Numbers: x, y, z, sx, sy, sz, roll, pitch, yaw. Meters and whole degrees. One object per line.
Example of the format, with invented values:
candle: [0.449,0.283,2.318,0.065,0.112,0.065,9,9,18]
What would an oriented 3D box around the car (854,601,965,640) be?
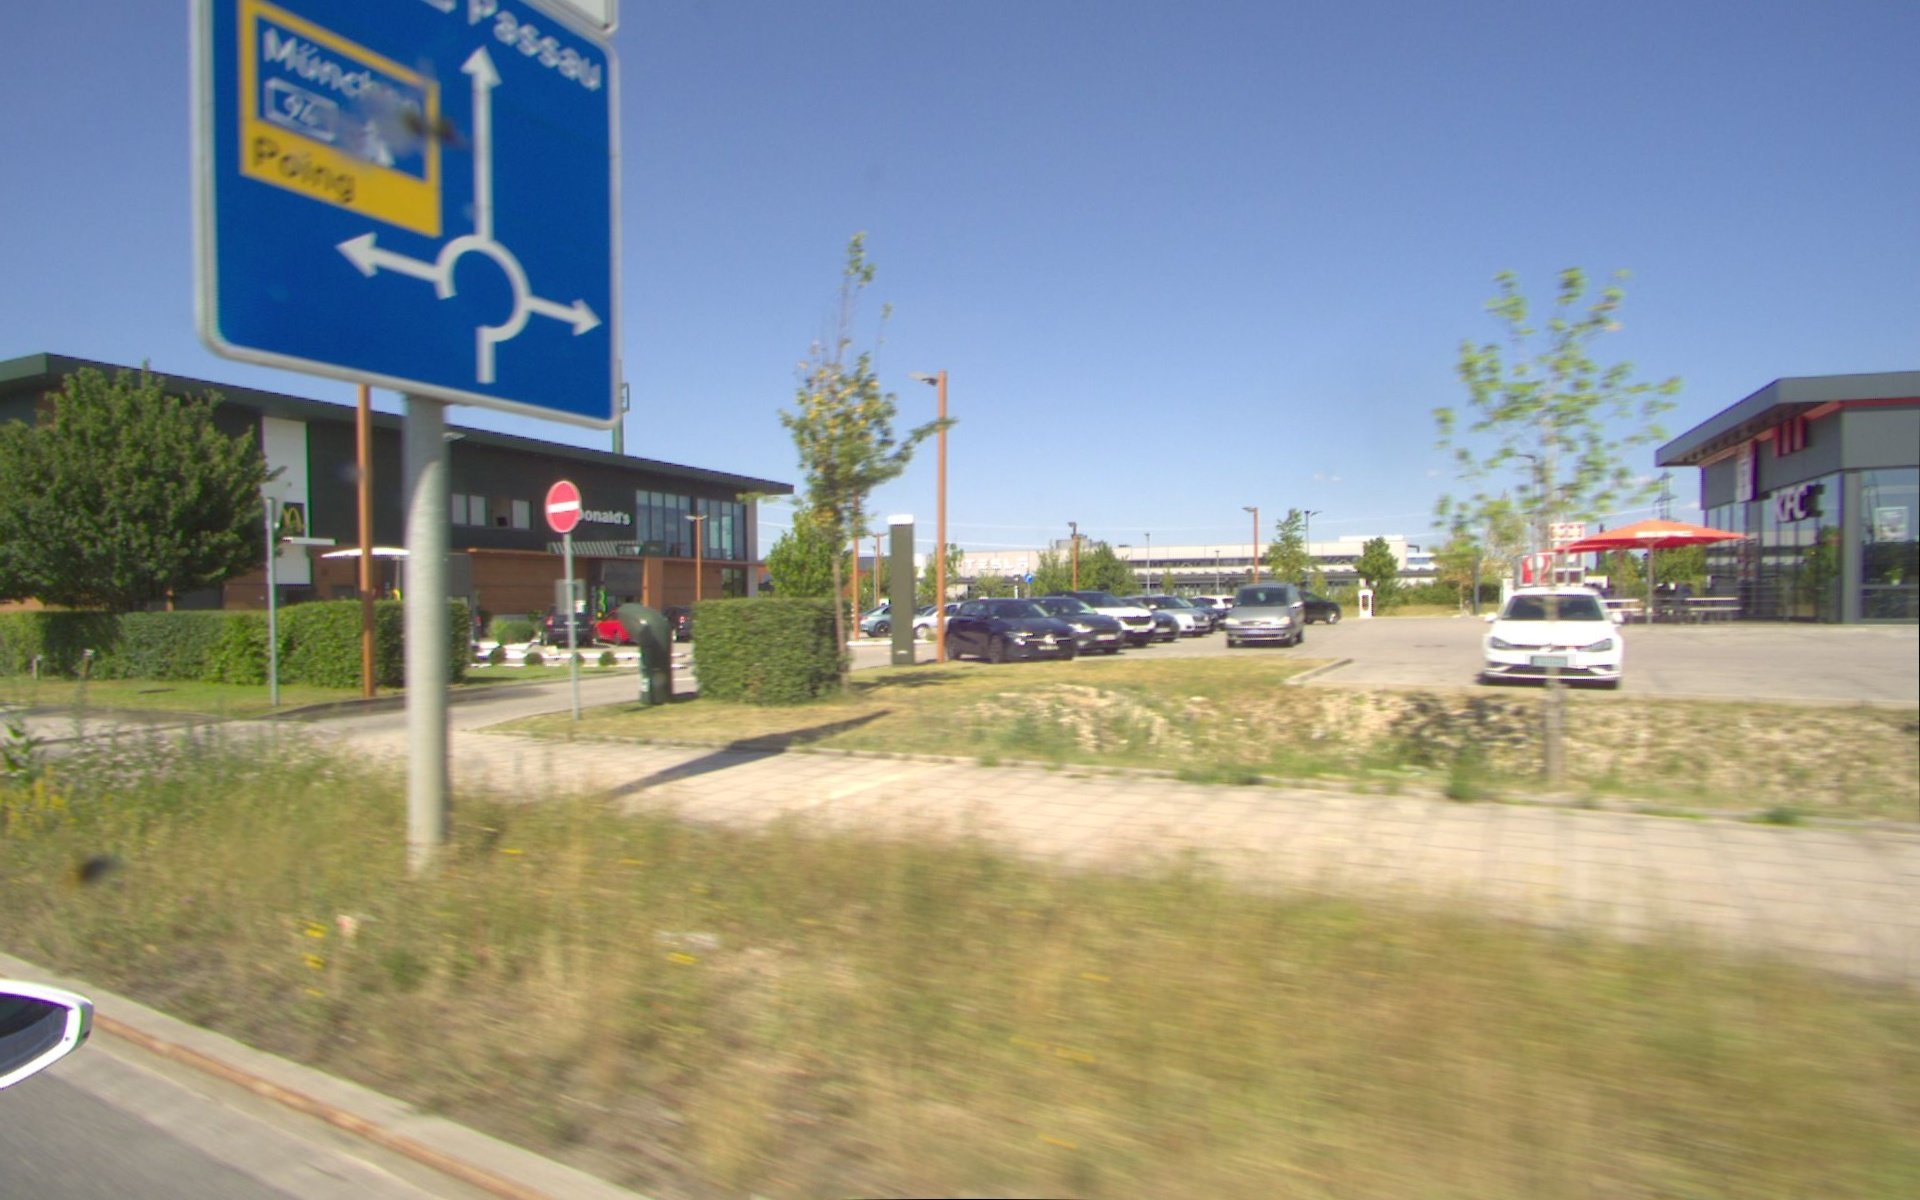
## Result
car: [-1.964,0.776,38.739,3.931,1.391,1.794,-1,0,-19]

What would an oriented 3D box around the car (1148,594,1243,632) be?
car: [9.709,0.542,41.627,1.762,1.470,4.156,-1,0,-22]

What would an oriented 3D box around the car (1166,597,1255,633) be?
car: [11.100,0.658,44.650,1.762,1.470,4.156,-1,0,-22]

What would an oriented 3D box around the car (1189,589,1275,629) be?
car: [12.692,0.410,46.988,1.762,1.780,4.156,-1,0,-22]

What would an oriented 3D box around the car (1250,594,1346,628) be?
car: [16.164,0.511,47.957,4.096,1.542,1.787,-1,0,-18]

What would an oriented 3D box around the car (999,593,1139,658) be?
car: [2.660,0.616,25.424,1.762,1.481,4.156,-1,0,-22]

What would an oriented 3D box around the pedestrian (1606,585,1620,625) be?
pedestrian: [20.814,0.164,31.922,0.288,1.257,0.379,-1,1,23]

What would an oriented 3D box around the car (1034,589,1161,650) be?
car: [3.858,0.547,28.772,1.762,1.600,4.156,-1,0,-22]

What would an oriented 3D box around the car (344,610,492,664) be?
car: [-15.800,1.071,29.188,3.934,1.453,1.793,-1,0,25]

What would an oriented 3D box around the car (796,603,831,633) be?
car: [-8.042,0.949,54.851,1.764,1.541,3.997,-1,0,-9]

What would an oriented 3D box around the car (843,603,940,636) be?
car: [-3.136,0.876,45.922,4.108,1.391,1.794,-1,0,-19]

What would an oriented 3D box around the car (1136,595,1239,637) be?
car: [8.572,0.585,38.084,1.762,1.470,4.156,-1,0,-22]

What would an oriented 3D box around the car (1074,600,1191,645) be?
car: [5.432,0.681,32.007,1.762,1.314,4.156,-1,0,-22]

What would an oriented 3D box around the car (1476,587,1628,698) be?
car: [9.455,0.555,16.003,1.842,1.510,4.516,0,1,31]

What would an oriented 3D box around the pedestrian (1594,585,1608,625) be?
pedestrian: [20.082,0.162,31.380,0.288,1.257,0.379,-1,1,23]

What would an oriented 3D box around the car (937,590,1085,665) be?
car: [1.011,0.572,22.216,1.674,1.481,4.156,-1,0,-22]

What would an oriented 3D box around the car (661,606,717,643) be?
car: [-12.233,1.084,45.095,1.770,1.533,3.985,-1,0,-25]

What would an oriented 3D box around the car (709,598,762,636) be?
car: [-11.015,0.819,48.870,1.769,1.724,3.986,-1,0,-24]

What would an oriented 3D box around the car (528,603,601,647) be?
car: [-15.542,0.962,39.236,1.775,1.625,3.974,-1,0,-34]

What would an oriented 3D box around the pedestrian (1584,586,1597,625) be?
pedestrian: [20.257,0.172,32.158,0.288,1.257,0.379,-1,1,23]

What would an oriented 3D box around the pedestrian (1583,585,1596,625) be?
pedestrian: [19.801,0.166,31.487,0.288,1.257,0.379,-1,1,23]

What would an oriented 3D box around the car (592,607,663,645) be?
car: [-14.013,1.067,42.072,1.775,1.453,3.974,-1,0,-34]

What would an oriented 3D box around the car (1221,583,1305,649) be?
car: [8.463,0.419,27.738,1.762,1.657,4.156,-1,0,23]

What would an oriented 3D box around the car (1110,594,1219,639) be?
car: [7.160,0.558,35.424,1.762,1.470,4.156,-1,0,-22]

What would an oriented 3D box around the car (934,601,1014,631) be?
car: [0.765,0.881,55.946,4.108,1.597,1.794,-1,0,-19]

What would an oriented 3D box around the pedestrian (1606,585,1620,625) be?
pedestrian: [20.372,0.158,31.258,0.288,1.257,0.379,-1,1,23]
